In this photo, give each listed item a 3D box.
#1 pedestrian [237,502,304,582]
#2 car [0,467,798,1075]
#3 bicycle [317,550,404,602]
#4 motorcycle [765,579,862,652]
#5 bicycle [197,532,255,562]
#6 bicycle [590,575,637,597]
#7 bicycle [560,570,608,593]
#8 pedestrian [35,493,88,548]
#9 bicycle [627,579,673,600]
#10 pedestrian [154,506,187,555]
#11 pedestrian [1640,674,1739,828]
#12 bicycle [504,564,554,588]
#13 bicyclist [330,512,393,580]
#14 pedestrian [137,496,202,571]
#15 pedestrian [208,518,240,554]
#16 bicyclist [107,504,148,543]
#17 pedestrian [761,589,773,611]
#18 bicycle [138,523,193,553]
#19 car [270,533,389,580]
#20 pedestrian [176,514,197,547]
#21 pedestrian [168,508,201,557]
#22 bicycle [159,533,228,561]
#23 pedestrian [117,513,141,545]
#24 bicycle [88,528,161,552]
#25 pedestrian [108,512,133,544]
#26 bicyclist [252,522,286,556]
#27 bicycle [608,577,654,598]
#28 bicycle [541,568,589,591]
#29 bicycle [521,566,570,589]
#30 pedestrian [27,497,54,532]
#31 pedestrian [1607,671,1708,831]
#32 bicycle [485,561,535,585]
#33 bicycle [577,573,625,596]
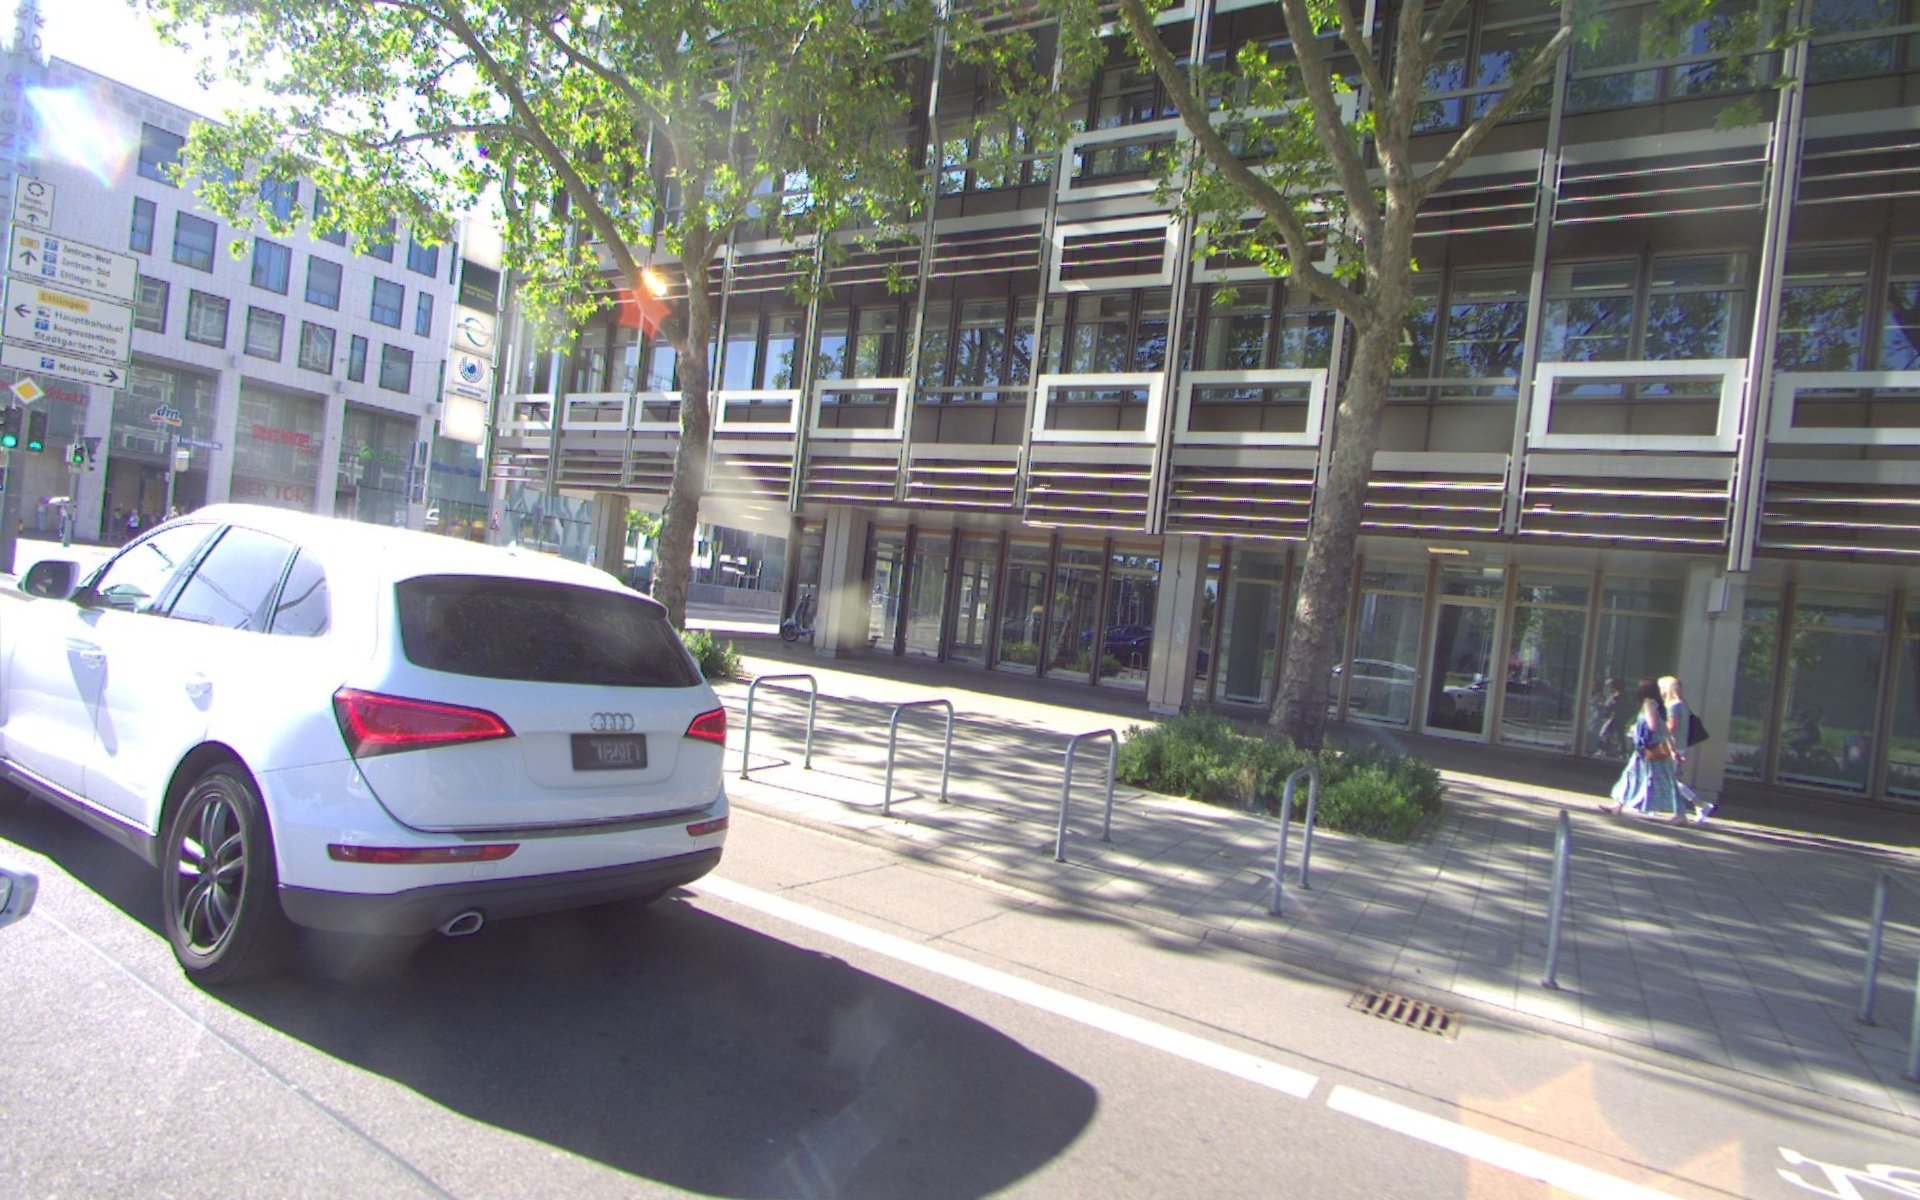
[{"bbox_3d":[-18.994,-1.588,27.716,1.060,2.038,0.949,7,0,24],"label":"pedestrian"},{"bbox_3d":[-3.095,0.390,4.757,4.340,1.633,1.822,7,-1,32],"label":"car"},{"bbox_3d":[-14.459,-0.586,24.247,2.017,0.997,0.882,7,0,31],"label":"bicycle"},{"bbox_3d":[-3.453,0.353,23.701,2.087,1.459,0.824,7,0,31],"label":"motorcycle"},{"bbox_3d":[-35.927,-2.587,49.188,3.440,1.107,1.067,6,0,33],"label":"bicycle"},{"bbox_3d":[-23.528,-0.949,68.229,3.441,1.107,1.067,6,0,34],"label":"bicycle"},{"bbox_3d":[-24.706,-1.215,66.138,3.441,1.107,1.067,6,0,34],"label":"bicycle"},{"bbox_3d":[-32.864,-2.907,36.802,1.497,1.825,0.967,6,2,31],"label":"pedestrian"},{"bbox_3d":[-21.670,-0.730,70.325,3.441,1.107,1.067,6,0,34],"label":"bicycle"},{"bbox_3d":[-27.748,-2.440,35.351,0.517,1.634,0.661,6,2,22],"label":"pedestrian"},{"bbox_3d":[8.434,1.715,11.666,0.716,1.622,0.666,7,3,32],"label":"pedestrian"},{"bbox_3d":[-26.949,-1.501,62.879,3.441,1.107,1.067,6,0,34],"label":"bicycle"},{"bbox_3d":[-14.436,-1.298,24.275,0.869,1.495,0.882,7,0,31],"label":"bicyclist"},{"bbox_3d":[-23.686,-1.982,30.143,1.059,2.038,0.950,7,0,20],"label":"pedestrian"},{"bbox_3d":[-38.914,-3.376,53.178,0.846,1.705,0.978,7,0,29],"label":"pedestrian"},{"bbox_3d":[-36.021,-3.320,43.553,1.055,1.494,1.022,7,0,35],"label":"bicyclist"},{"bbox_3d":[-16.036,0.008,83.704,0.563,1.705,0.536,7,1,24],"label":"pedestrian"},{"bbox_3d":[-37.421,-2.929,47.385,2.942,1.107,1.067,6,0,33],"label":"bicycle"},{"bbox_3d":[-29.120,-1.999,46.591,1.831,1.632,4.189,5,-2,33],"label":"car"},{"bbox_3d":[-44.794,-4.016,58.262,0.639,1.785,0.556,7,1,-5],"label":"pedestrian"},{"bbox_3d":[-27.166,-2.361,35.245,0.517,1.634,0.661,6,2,22],"label":"pedestrian"},{"bbox_3d":[-34.732,-2.383,45.610,1.055,0.955,2.194,6,-1,34],"label":"bicycle"},{"bbox_3d":[-46.308,-3.952,56.057,0.737,1.628,0.556,7,1,-6],"label":"pedestrian"},{"bbox_3d":[-36.115,-2.582,43.522,1.055,0.679,2.194,6,-1,34],"label":"bicycle"},{"bbox_3d":[-46.234,-3.973,55.400,0.737,1.628,0.556,7,1,-5],"label":"pedestrian"},{"bbox_3d":[-33.039,-2.915,48.101,1.024,1.451,0.933,7,0,34],"label":"bicyclist"},{"bbox_3d":[-22.569,-0.860,68.987,3.441,1.107,1.067,6,0,34],"label":"bicycle"},{"bbox_3d":[-25.563,-1.317,65.073,3.441,1.107,1.067,6,0,34],"label":"bicycle"},{"bbox_3d":[-26.323,-1.418,63.855,3.441,1.107,1.067,6,0,34],"label":"bicycle"},{"bbox_3d":[-46.257,-4.311,50.593,0.547,1.628,0.748,8,1,30],"label":"pedestrian"},{"bbox_3d":[7.772,1.653,11.245,0.716,1.622,0.666,7,3,32],"label":"pedestrian"},{"bbox_3d":[-27.784,-1.661,62.025,3.441,1.107,1.067,6,0,34],"label":"bicycle"},{"bbox_3d":[-23.980,-1.034,67.122,3.441,1.107,1.067,6,0,34],"label":"bicycle"}]
